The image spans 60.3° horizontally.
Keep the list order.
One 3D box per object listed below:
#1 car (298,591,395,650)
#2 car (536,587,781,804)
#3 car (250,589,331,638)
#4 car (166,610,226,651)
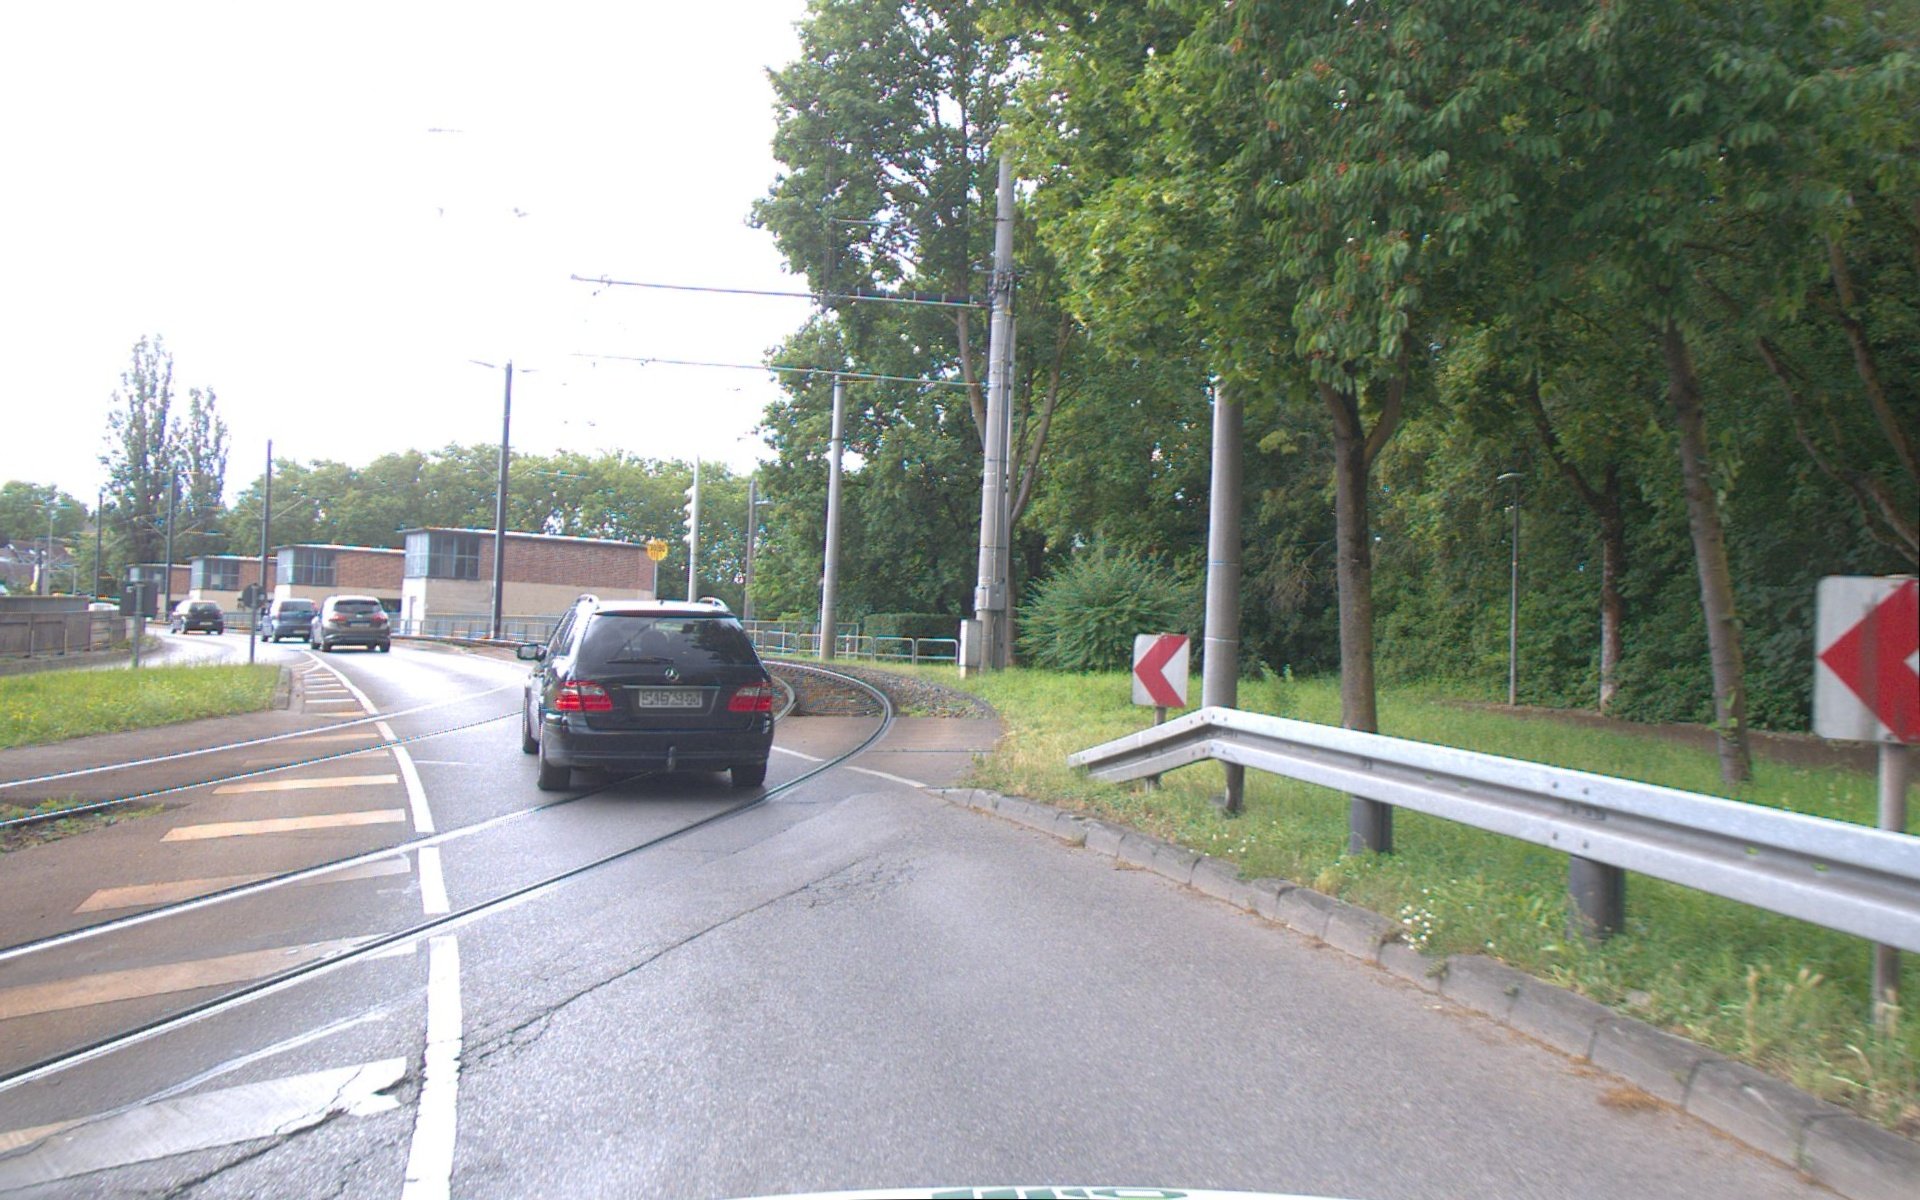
[{"bbox_3d":[-17.286,0.557,46.511,1.753,1.582,4.194,1,0,-32],"label":"car"},{"bbox_3d":[-2.714,0.668,14.102,1.730,1.542,4.425,0,0,-15],"label":"car"},{"bbox_3d":[-23.441,0.439,57.808,1.972,1.591,4.947,0,1,-30],"label":"car"},{"bbox_3d":[-33.468,1.300,72.372,1.973,1.702,4.494,0,0,-30],"label":"car"}]
